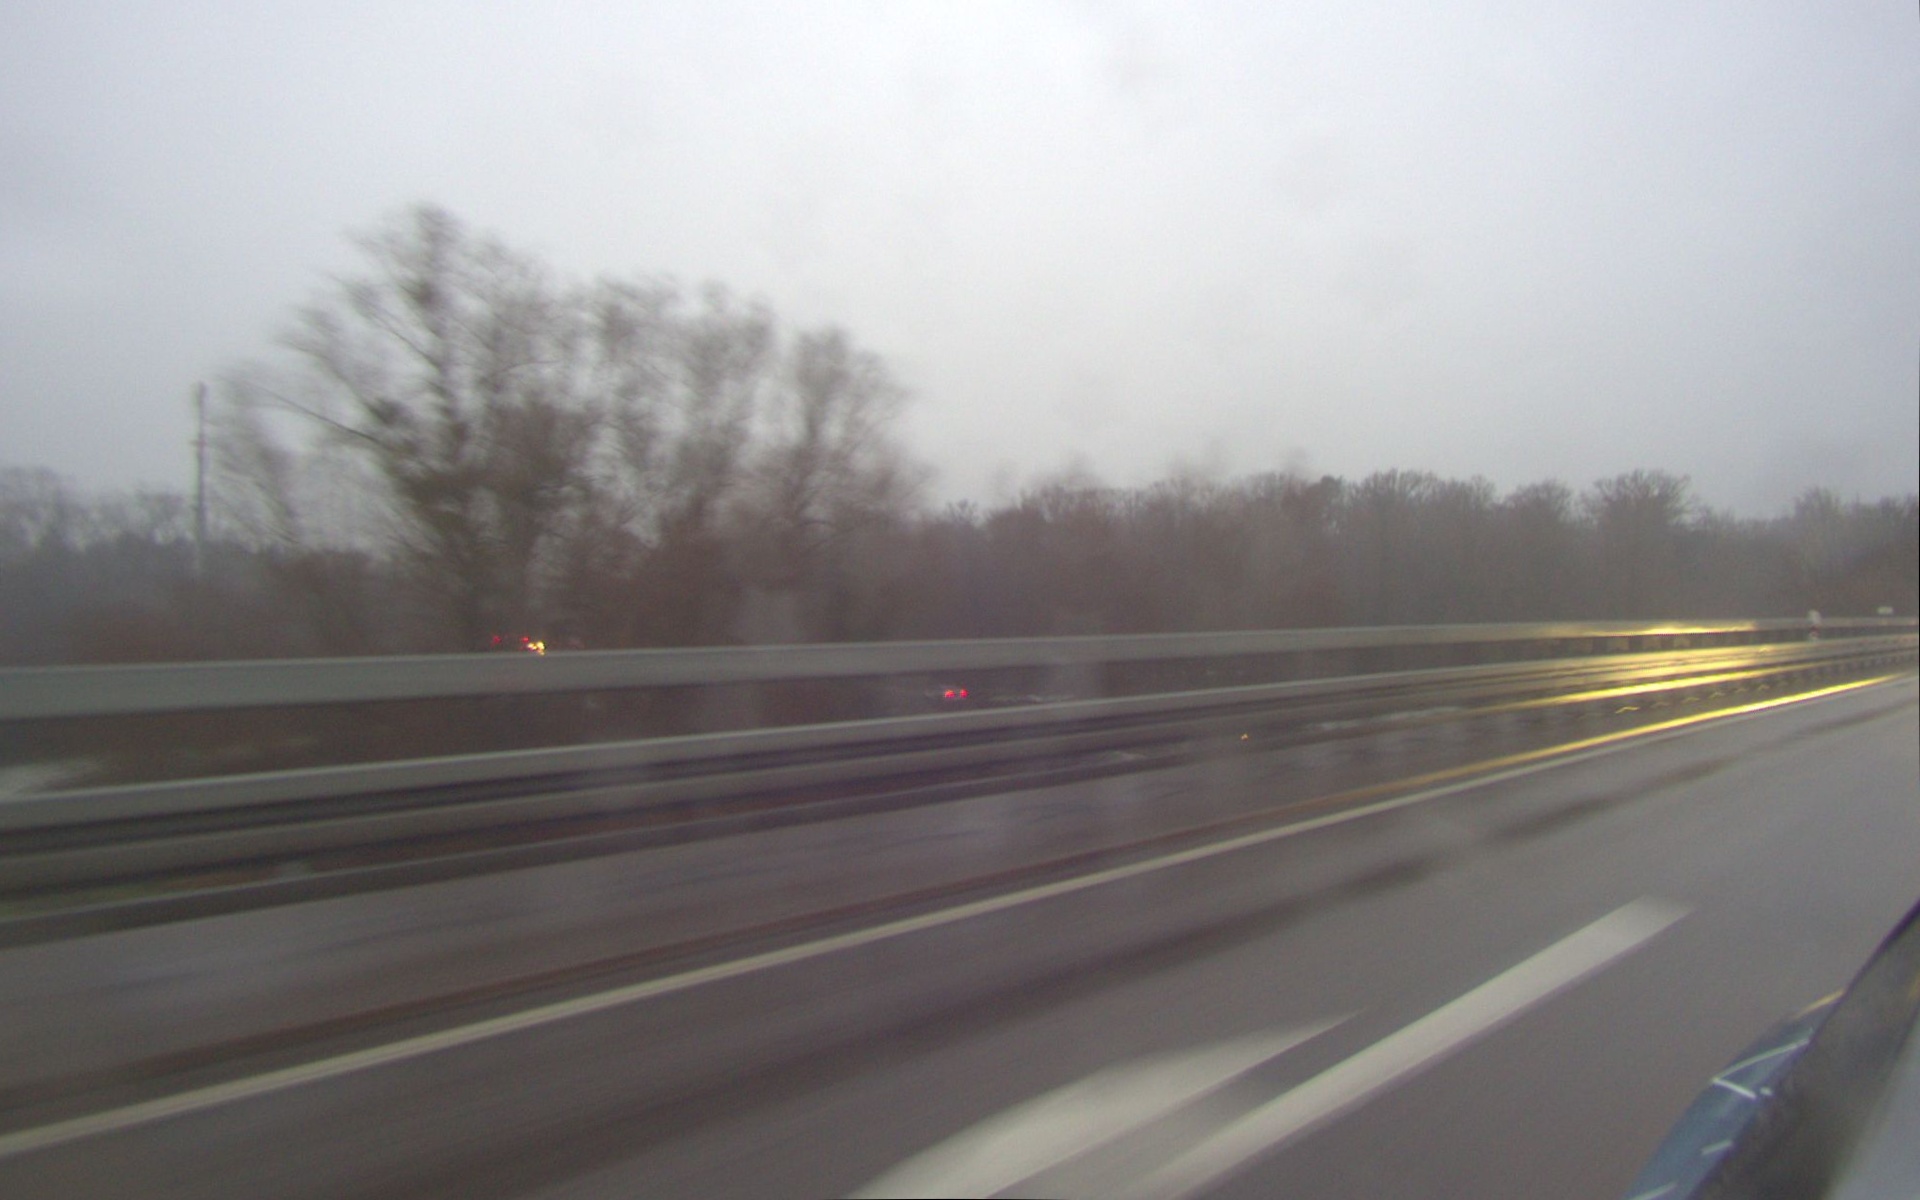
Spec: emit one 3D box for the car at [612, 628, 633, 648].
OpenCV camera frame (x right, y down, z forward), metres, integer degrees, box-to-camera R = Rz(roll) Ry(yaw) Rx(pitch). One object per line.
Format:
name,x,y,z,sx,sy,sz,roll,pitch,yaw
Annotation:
car,-63.462,7.084,190.454,2.496,3.425,6.668,1,1,-29
